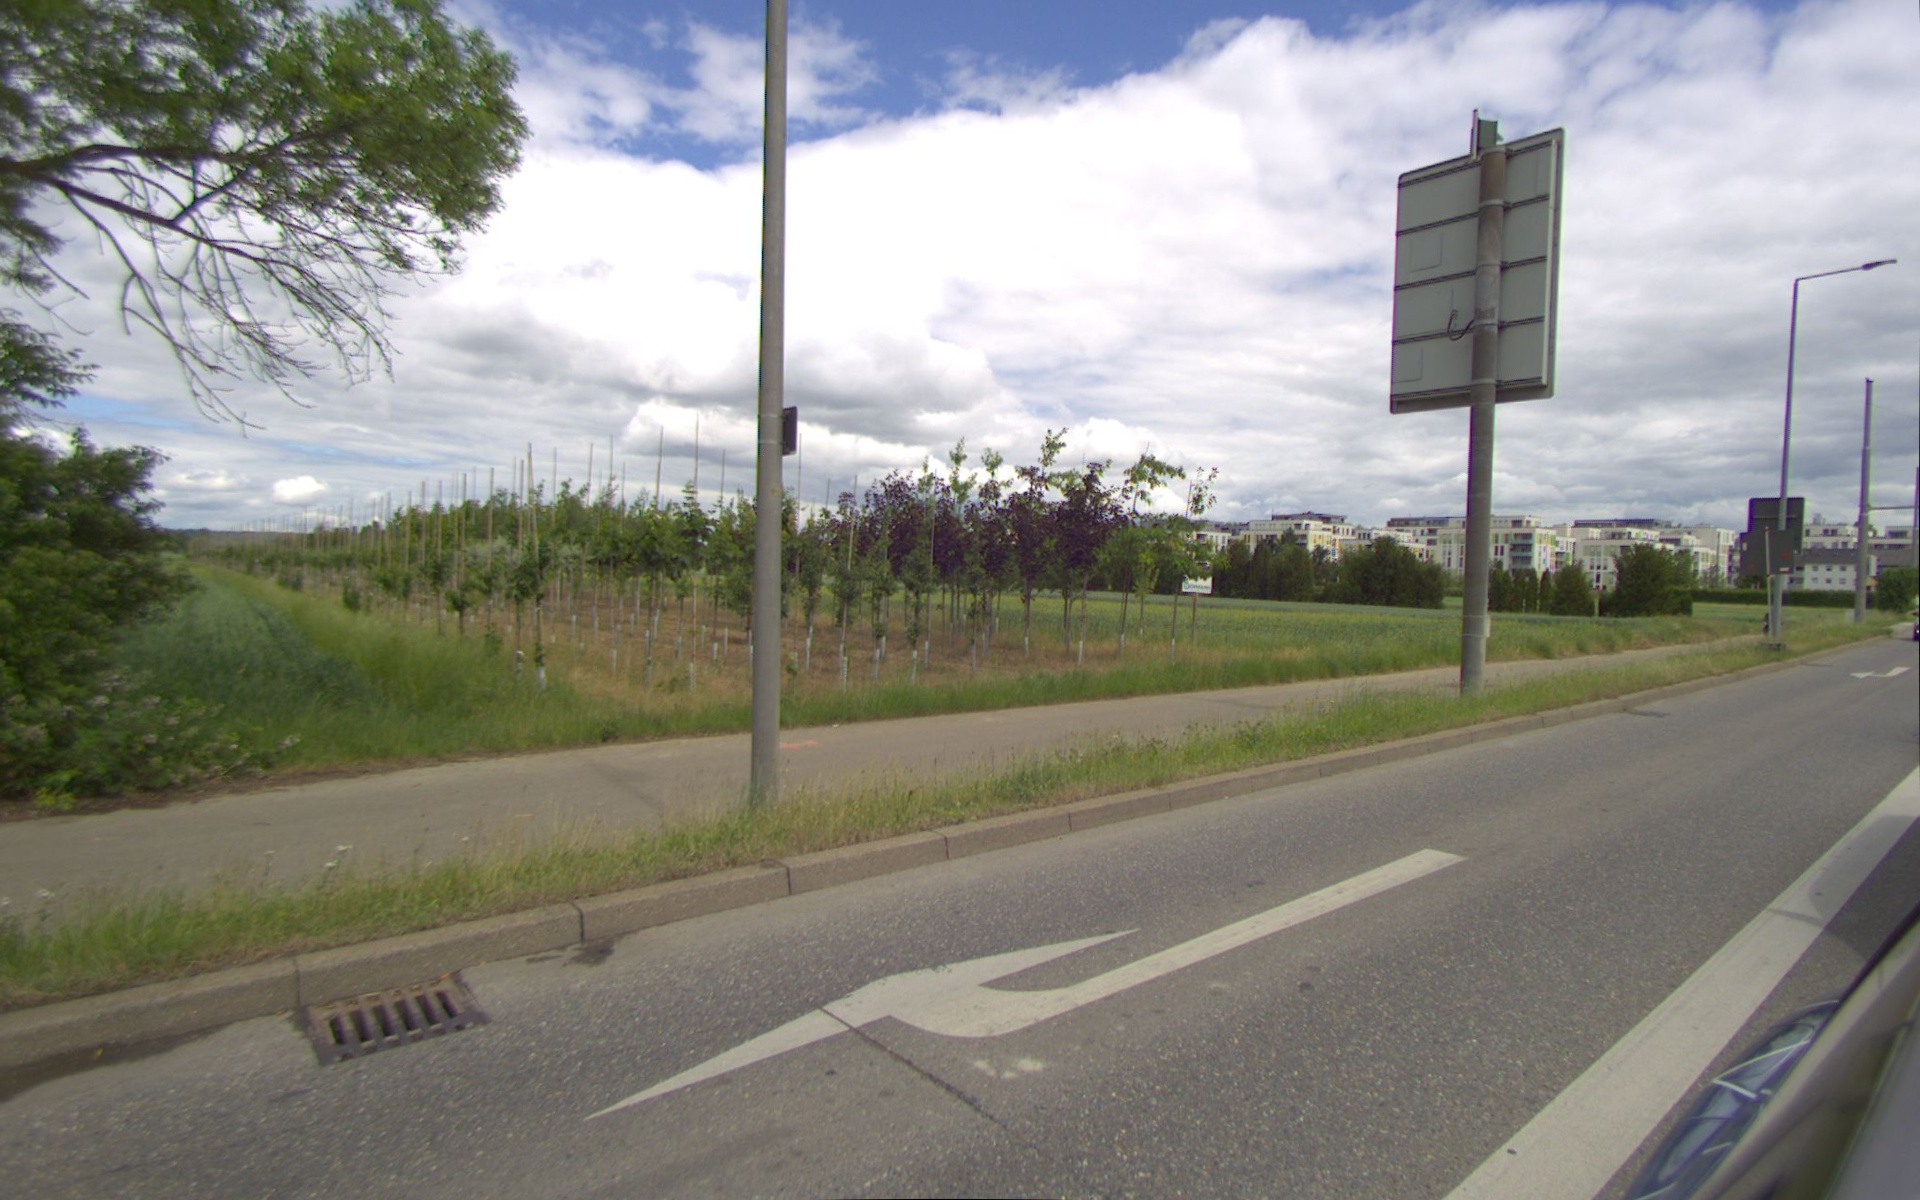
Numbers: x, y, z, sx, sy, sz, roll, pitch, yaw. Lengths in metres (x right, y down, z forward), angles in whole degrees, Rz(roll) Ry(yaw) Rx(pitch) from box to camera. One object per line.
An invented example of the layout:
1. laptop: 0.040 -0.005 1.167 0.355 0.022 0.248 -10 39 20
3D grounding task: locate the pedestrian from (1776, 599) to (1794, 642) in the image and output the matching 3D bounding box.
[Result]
1. pedestrian: 34.185 0.844 41.918 0.615 1.724 0.492 0 0 -42
